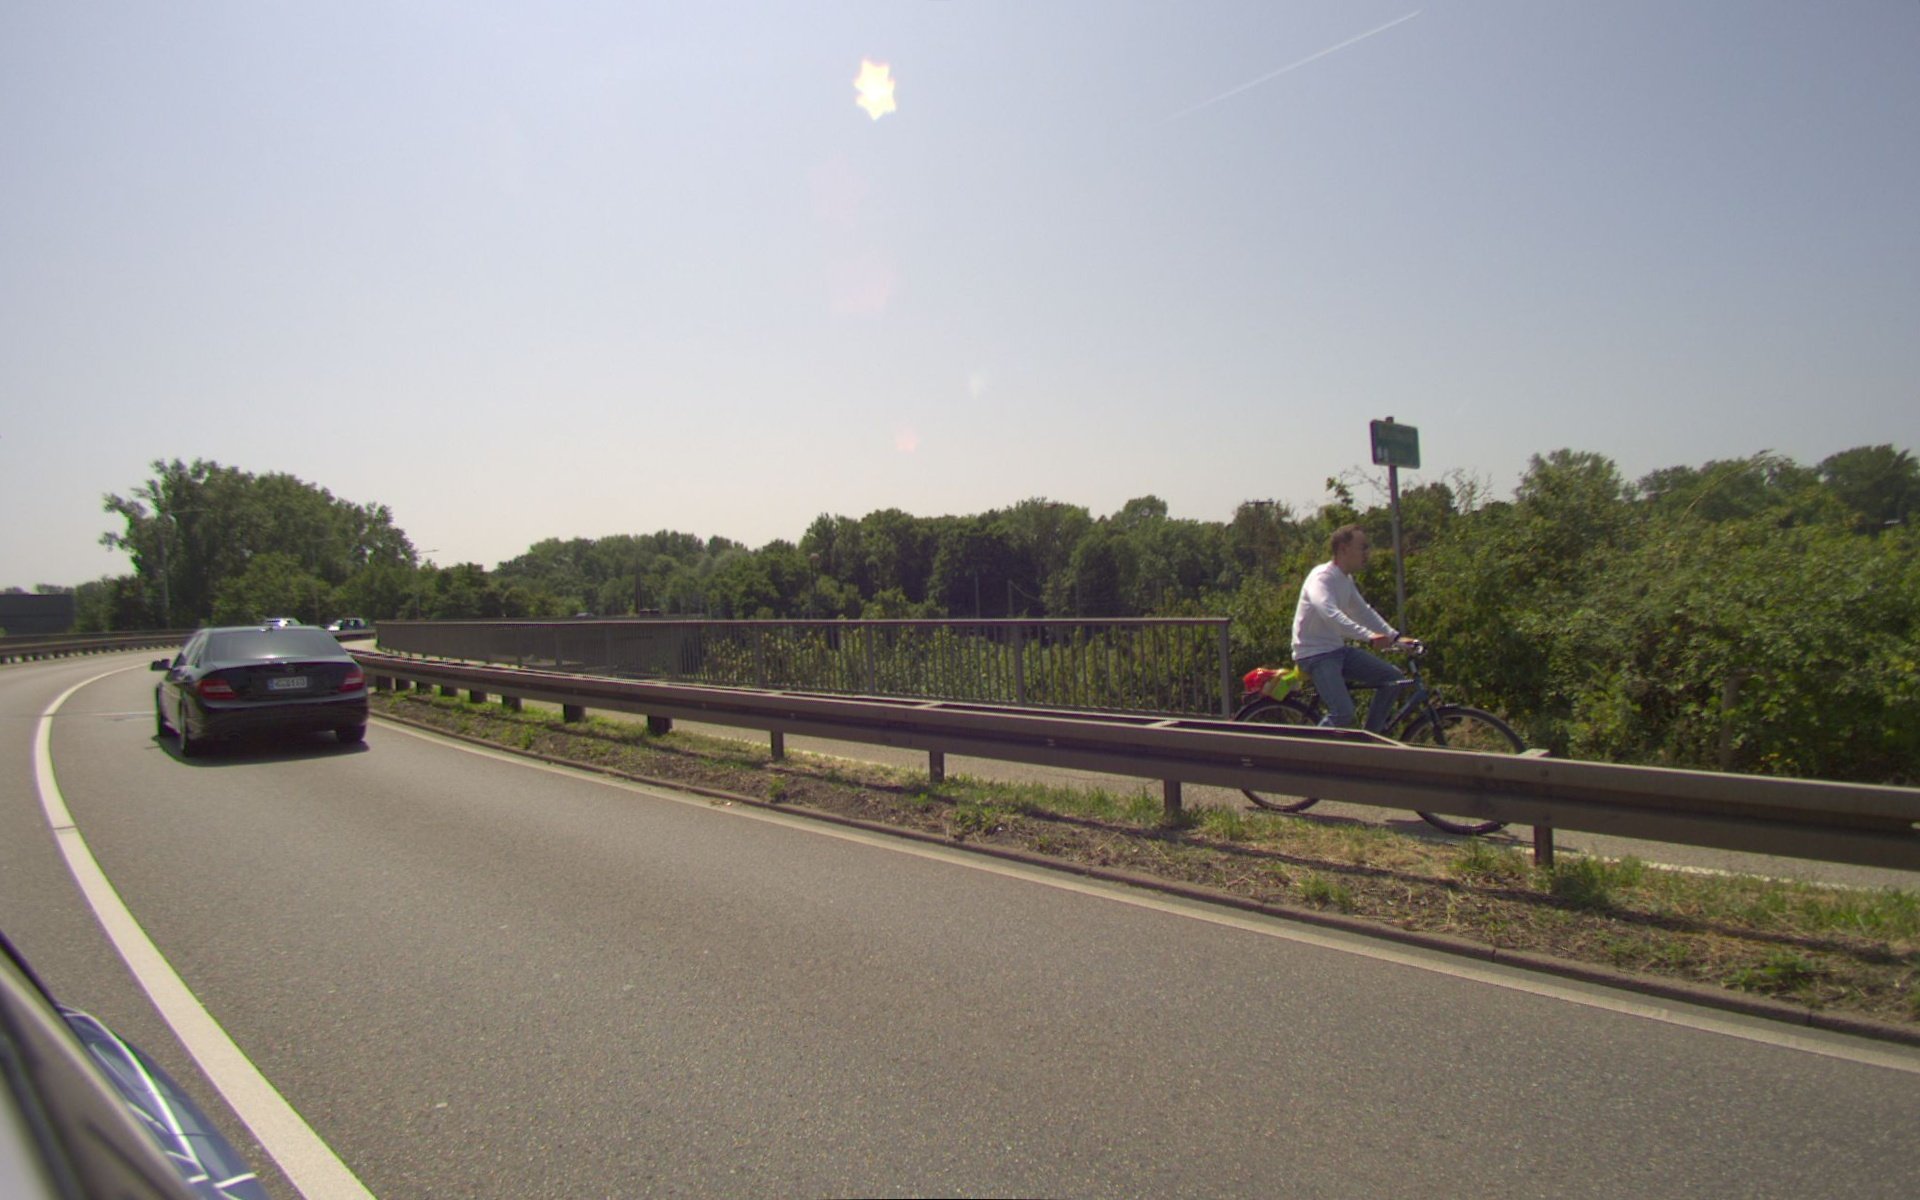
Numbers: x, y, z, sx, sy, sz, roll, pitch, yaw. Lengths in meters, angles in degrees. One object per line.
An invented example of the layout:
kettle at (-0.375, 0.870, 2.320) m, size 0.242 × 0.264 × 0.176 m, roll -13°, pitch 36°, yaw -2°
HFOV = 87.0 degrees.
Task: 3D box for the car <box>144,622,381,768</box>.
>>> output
car at (-8.614, 1.003, 12.323) m, size 1.782 × 1.427 × 4.362 m, roll 0°, pitch -1°, yaw -43°

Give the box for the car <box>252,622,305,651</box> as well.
car at (-36.401, 1.930, 54.168) m, size 1.778 × 1.427 × 4.372 m, roll -1°, pitch -1°, yaw -26°

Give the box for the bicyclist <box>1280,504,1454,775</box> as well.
bicyclist at (2.441, 0.229, 6.060) m, size 0.822 × 1.477 × 0.723 m, roll -1°, pitch -3°, yaw 35°

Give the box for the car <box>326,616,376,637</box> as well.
car at (-43.225, 1.838, 71.940) m, size 1.779 × 1.427 × 4.369 m, roll -1°, pitch -1°, yaw -13°

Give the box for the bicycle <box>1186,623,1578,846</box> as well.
bicycle at (2.451, 0.710, 6.028) m, size 2.041 × 1.125 × 0.728 m, roll -1°, pitch -3°, yaw 35°
